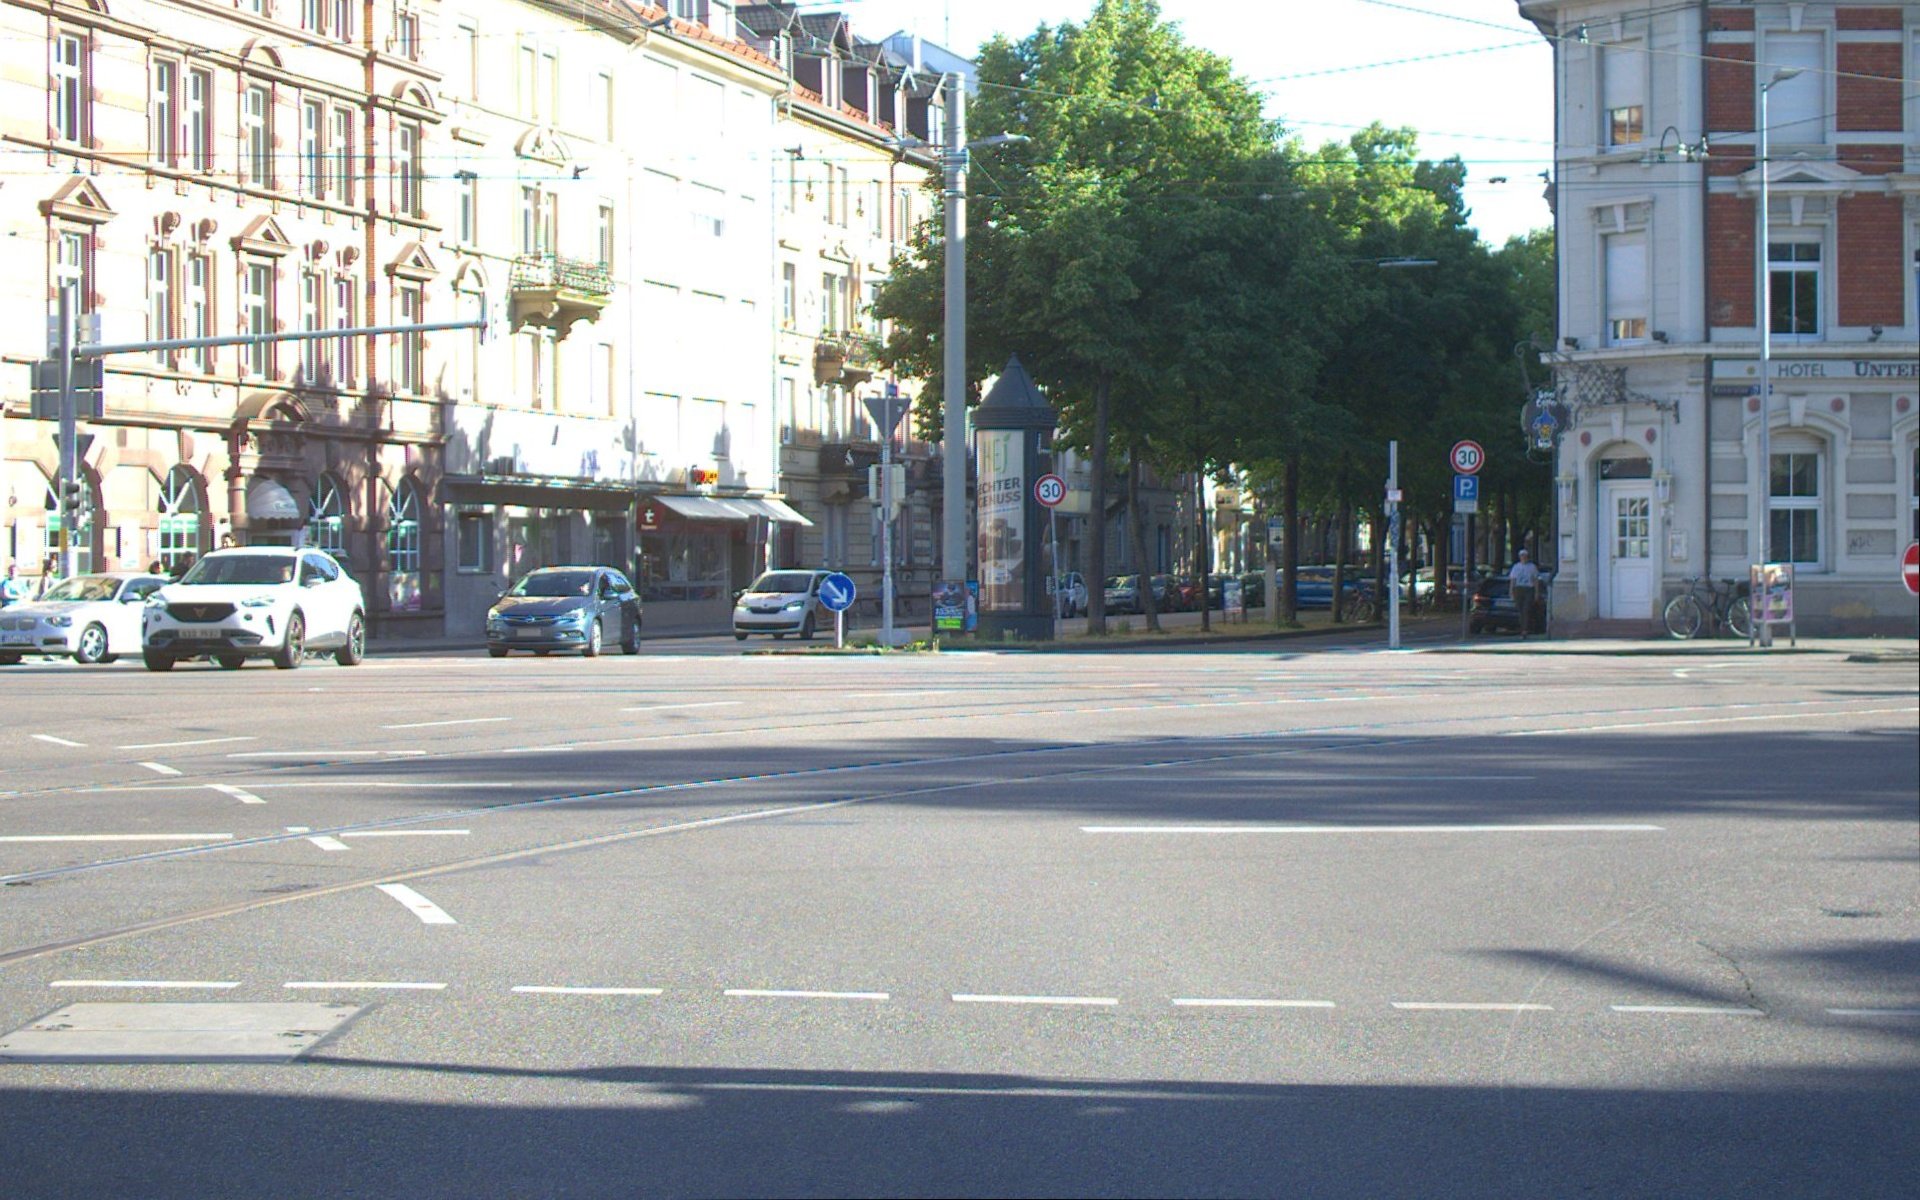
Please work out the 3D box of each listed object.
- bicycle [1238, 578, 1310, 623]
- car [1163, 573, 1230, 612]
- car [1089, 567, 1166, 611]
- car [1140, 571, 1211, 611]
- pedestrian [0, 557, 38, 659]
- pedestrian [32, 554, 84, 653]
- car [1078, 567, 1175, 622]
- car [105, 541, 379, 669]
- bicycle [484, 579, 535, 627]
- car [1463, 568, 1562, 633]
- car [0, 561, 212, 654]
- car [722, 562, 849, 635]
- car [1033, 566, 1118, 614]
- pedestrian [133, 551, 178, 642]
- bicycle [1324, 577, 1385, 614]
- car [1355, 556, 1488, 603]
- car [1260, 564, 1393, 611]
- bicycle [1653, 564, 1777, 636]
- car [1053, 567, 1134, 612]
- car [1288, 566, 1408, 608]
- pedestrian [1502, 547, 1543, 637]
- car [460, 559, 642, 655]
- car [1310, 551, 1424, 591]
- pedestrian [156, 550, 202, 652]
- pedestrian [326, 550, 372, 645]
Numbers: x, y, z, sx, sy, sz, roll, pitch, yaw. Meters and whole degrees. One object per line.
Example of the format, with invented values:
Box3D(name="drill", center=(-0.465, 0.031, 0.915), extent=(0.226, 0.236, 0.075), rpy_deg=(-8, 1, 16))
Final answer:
Box3D(name="bicycle", center=(7.549, 0.003, 82.777), extent=(0.582, 1.063, 1.949), rpy_deg=(-1, 1, -37))
Box3D(name="car", center=(9.415, -0.319, 136.552), extent=(1.995, 1.492, 4.031), rpy_deg=(0, 1, 14))
Box3D(name="car", center=(5.980, -0.408, 122.616), extent=(1.995, 1.492, 4.031), rpy_deg=(0, 1, 14))
Box3D(name="car", center=(8.277, -0.361, 131.820), extent=(1.995, 1.492, 4.031), rpy_deg=(0, 1, 14))
Box3D(name="pedestrian", center=(-15.436, 0.123, 55.845), extent=(0.675, 1.636, 0.578), rpy_deg=(0, 1, 13))
Box3D(name="pedestrian", center=(-15.013, 0.059, 57.225), extent=(0.631, 1.636, 0.552), rpy_deg=(0, 1, 13))
Box3D(name="car", center=(4.740, -0.173, 97.366), extent=(1.995, 1.492, 4.031), rpy_deg=(0, 1, 14))
Box3D(name="car", center=(-8.733, 0.025, 42.203), extent=(1.994, 1.492, 4.346), rpy_deg=(0, 1, 7))
Box3D(name="bicycle", center=(-10.429, 0.064, 79.574), extent=(0.495, 1.063, 1.768), rpy_deg=(0, 1, 16))
Box3D(name="car", center=(13.271, -0.004, 82.435), extent=(1.995, 1.492, 4.031), rpy_deg=(0, 1, 14))
Box3D(name="car", center=(-13.470, 0.089, 53.325), extent=(1.995, 1.350, 4.219), rpy_deg=(0, 1, 14))
Box3D(name="car", center=(-3.651, -0.052, 72.644), extent=(1.719, 1.492, 3.581), rpy_deg=(0, 1, 14))
Box3D(name="car", center=(3.810, -0.344, 112.893), extent=(1.995, 1.492, 4.031), rpy_deg=(0, 1, 14))
Box3D(name="pedestrian", center=(-14.666, -0.066, 62.679), extent=(0.551, 1.636, 0.632), rpy_deg=(0, 1, 14))
Box3D(name="bicycle", center=(11.380, -0.135, 99.270), extent=(0.582, 1.063, 1.949), rpy_deg=(-1, 1, -37))
Box3D(name="car", center=(15.634, -0.698, 116.499), extent=(3.994, 1.540, 1.997), rpy_deg=(0, 1, 31))
Box3D(name="car", center=(12.323, -0.424, 115.684), extent=(3.993, 1.540, 1.997), rpy_deg=(0, 1, 28))
Box3D(name="bicycle", center=(12.556, 0.000, 57.196), extent=(1.961, 1.186, 0.546), rpy_deg=(0, 1, 5))
Box3D(name="car", center=(4.587, -0.378, 117.380), extent=(1.995, 1.492, 4.031), rpy_deg=(0, 1, 14))
Box3D(name="car", center=(14.503, -0.501, 128.433), extent=(3.993, 1.540, 1.997), rpy_deg=(0, 1, 28))
Box3D(name="pedestrian", center=(10.557, -0.158, 64.547), extent=(0.716, 1.664, 0.939), rpy_deg=(0, 1, 12))
Box3D(name="car", center=(-6.659, 0.086, 56.458), extent=(1.774, 1.492, 4.572), rpy_deg=(0, 1, 9))
Box3D(name="car", center=(15.921, -1.128, 134.436), extent=(3.993, 1.540, 1.997), rpy_deg=(0, 1, 28))
Box3D(name="pedestrian", center=(-14.117, 0.020, 62.149), extent=(0.580, 1.830, 0.632), rpy_deg=(0, 1, 16))
Box3D(name="pedestrian", center=(-12.326, -0.060, 69.376), extent=(0.682, 1.902, 0.632), rpy_deg=(0, 1, 16))
